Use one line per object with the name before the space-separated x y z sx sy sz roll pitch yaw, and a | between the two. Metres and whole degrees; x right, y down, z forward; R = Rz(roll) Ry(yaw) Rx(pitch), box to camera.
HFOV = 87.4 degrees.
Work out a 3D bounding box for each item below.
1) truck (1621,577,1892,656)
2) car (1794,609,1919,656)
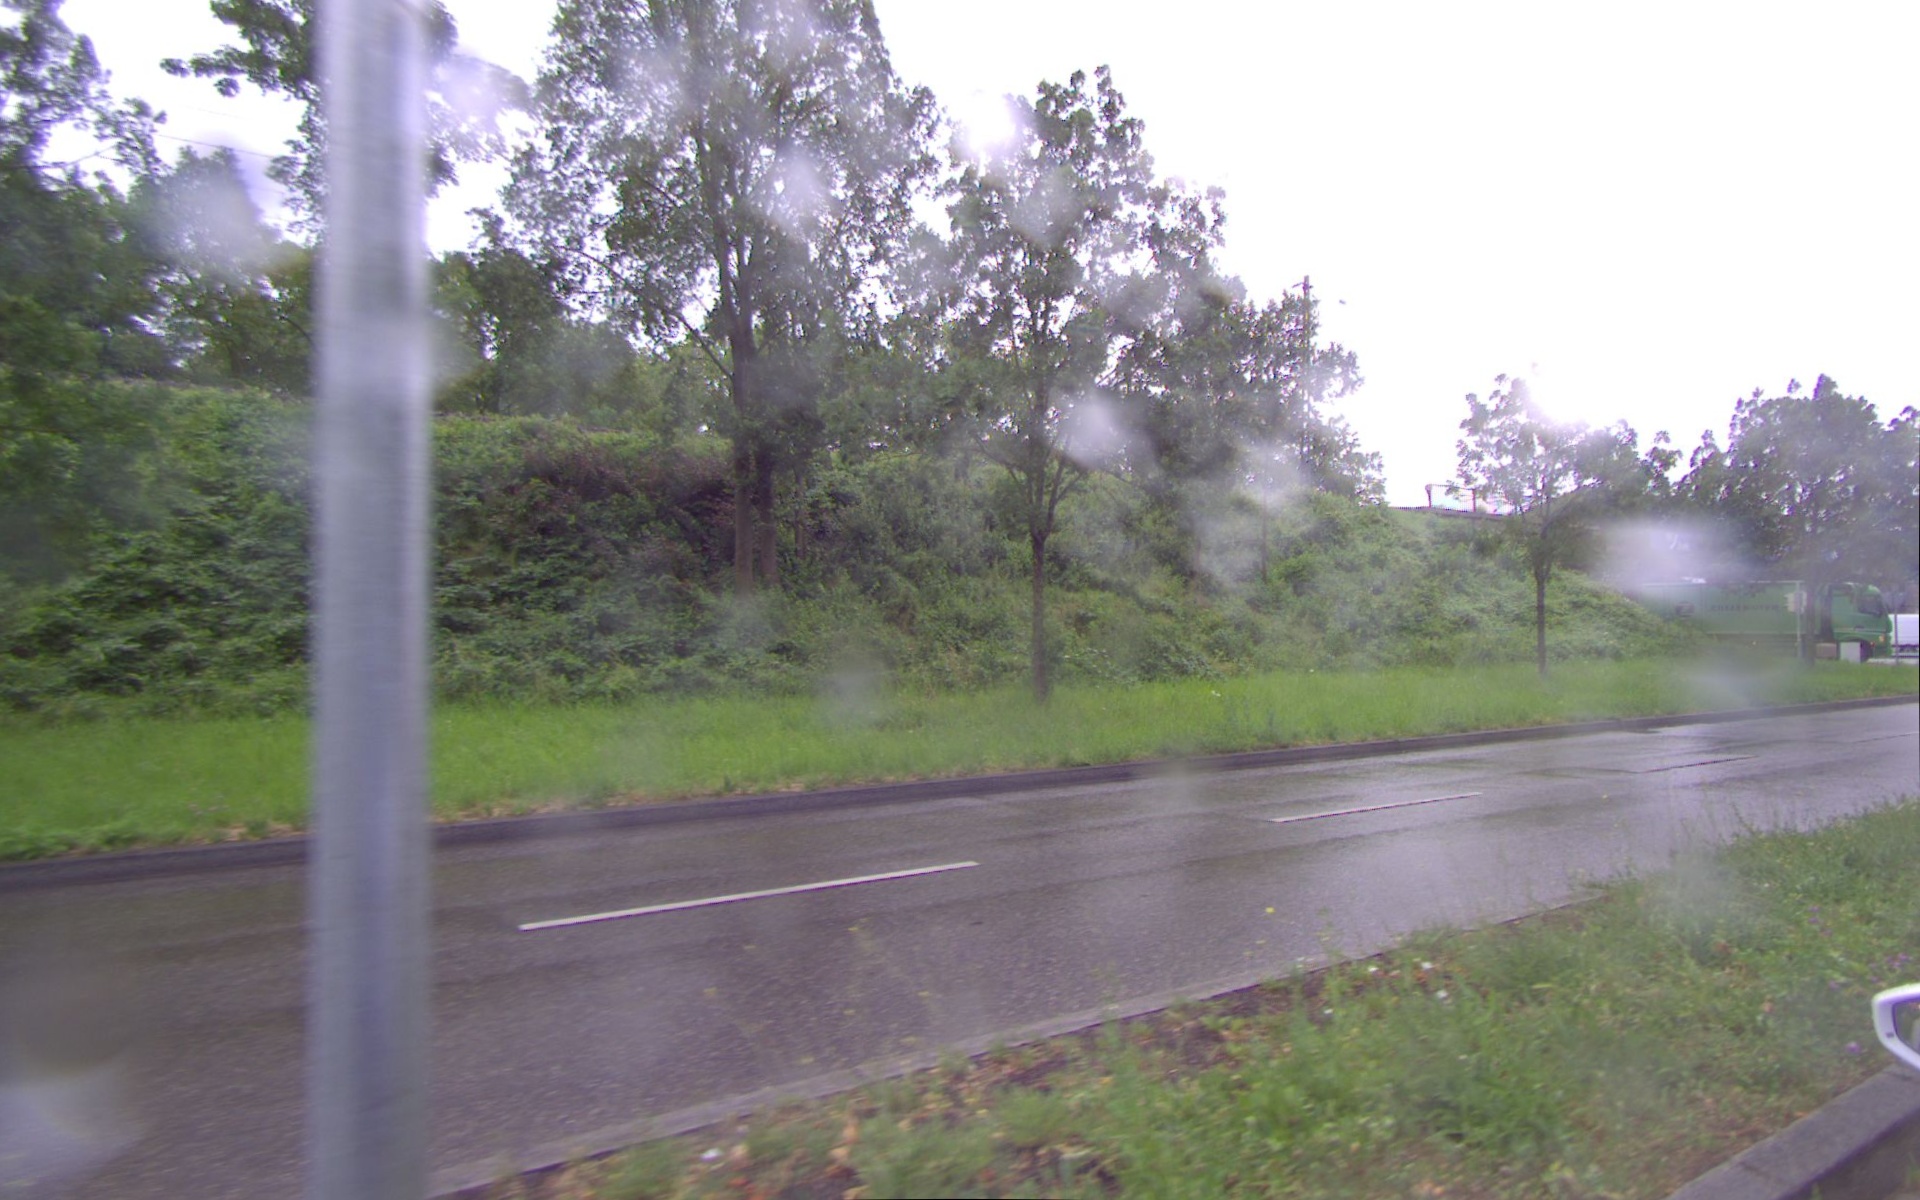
truck | 38.361 0.757 48.917 9.947 3.497 2.657 1 -1 23
car | 57.056 2.052 63.783 5.905 2.780 1.999 1 -1 24
